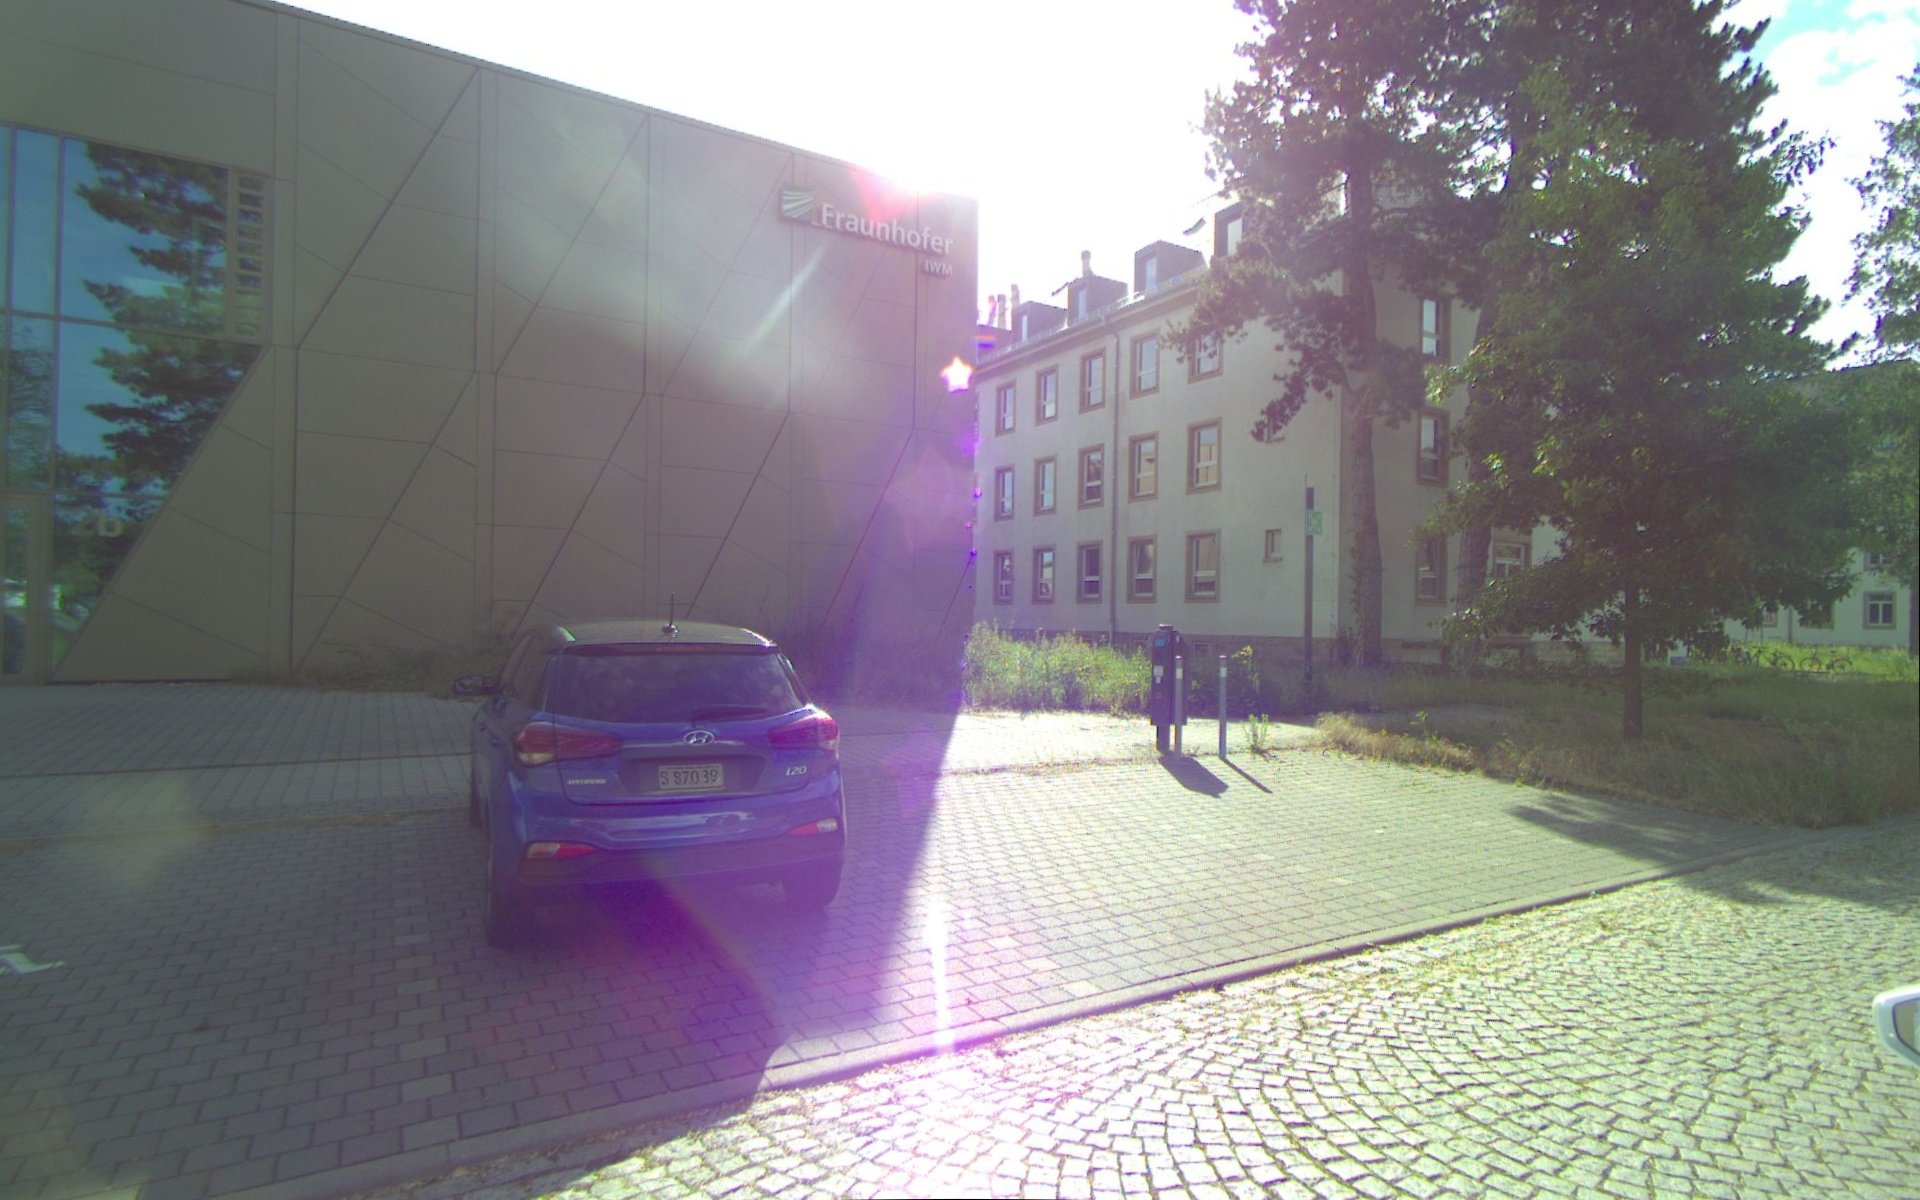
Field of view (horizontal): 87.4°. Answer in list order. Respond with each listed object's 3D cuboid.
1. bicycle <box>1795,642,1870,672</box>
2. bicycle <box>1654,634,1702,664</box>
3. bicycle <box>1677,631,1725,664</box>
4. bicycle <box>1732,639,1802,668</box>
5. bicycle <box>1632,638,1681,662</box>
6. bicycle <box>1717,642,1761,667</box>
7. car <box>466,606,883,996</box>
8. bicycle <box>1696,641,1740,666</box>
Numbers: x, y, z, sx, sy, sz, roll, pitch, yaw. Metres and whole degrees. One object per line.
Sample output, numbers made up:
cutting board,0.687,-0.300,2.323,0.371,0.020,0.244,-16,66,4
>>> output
bicycle,34.278,2.223,39.480,0.820,1.061,2.104,2,-1,-33
bicycle,32.316,2.185,45.197,2.524,1.298,0.822,2,-1,-31
bicycle,32.955,2.111,44.684,2.524,1.456,0.822,2,-1,-31
bicycle,33.146,2.192,41.269,0.820,1.123,2.104,2,-1,-33
bicycle,31.868,2.290,45.976,2.524,1.061,0.896,2,-1,-31
bicycle,33.479,2.337,43.168,2.100,1.061,0.822,2,-1,-31
car,-2.019,0.847,6.152,1.698,1.483,3.820,2,0,-27
bicycle,33.055,2.324,43.822,2.100,1.061,0.822,2,-1,-31
